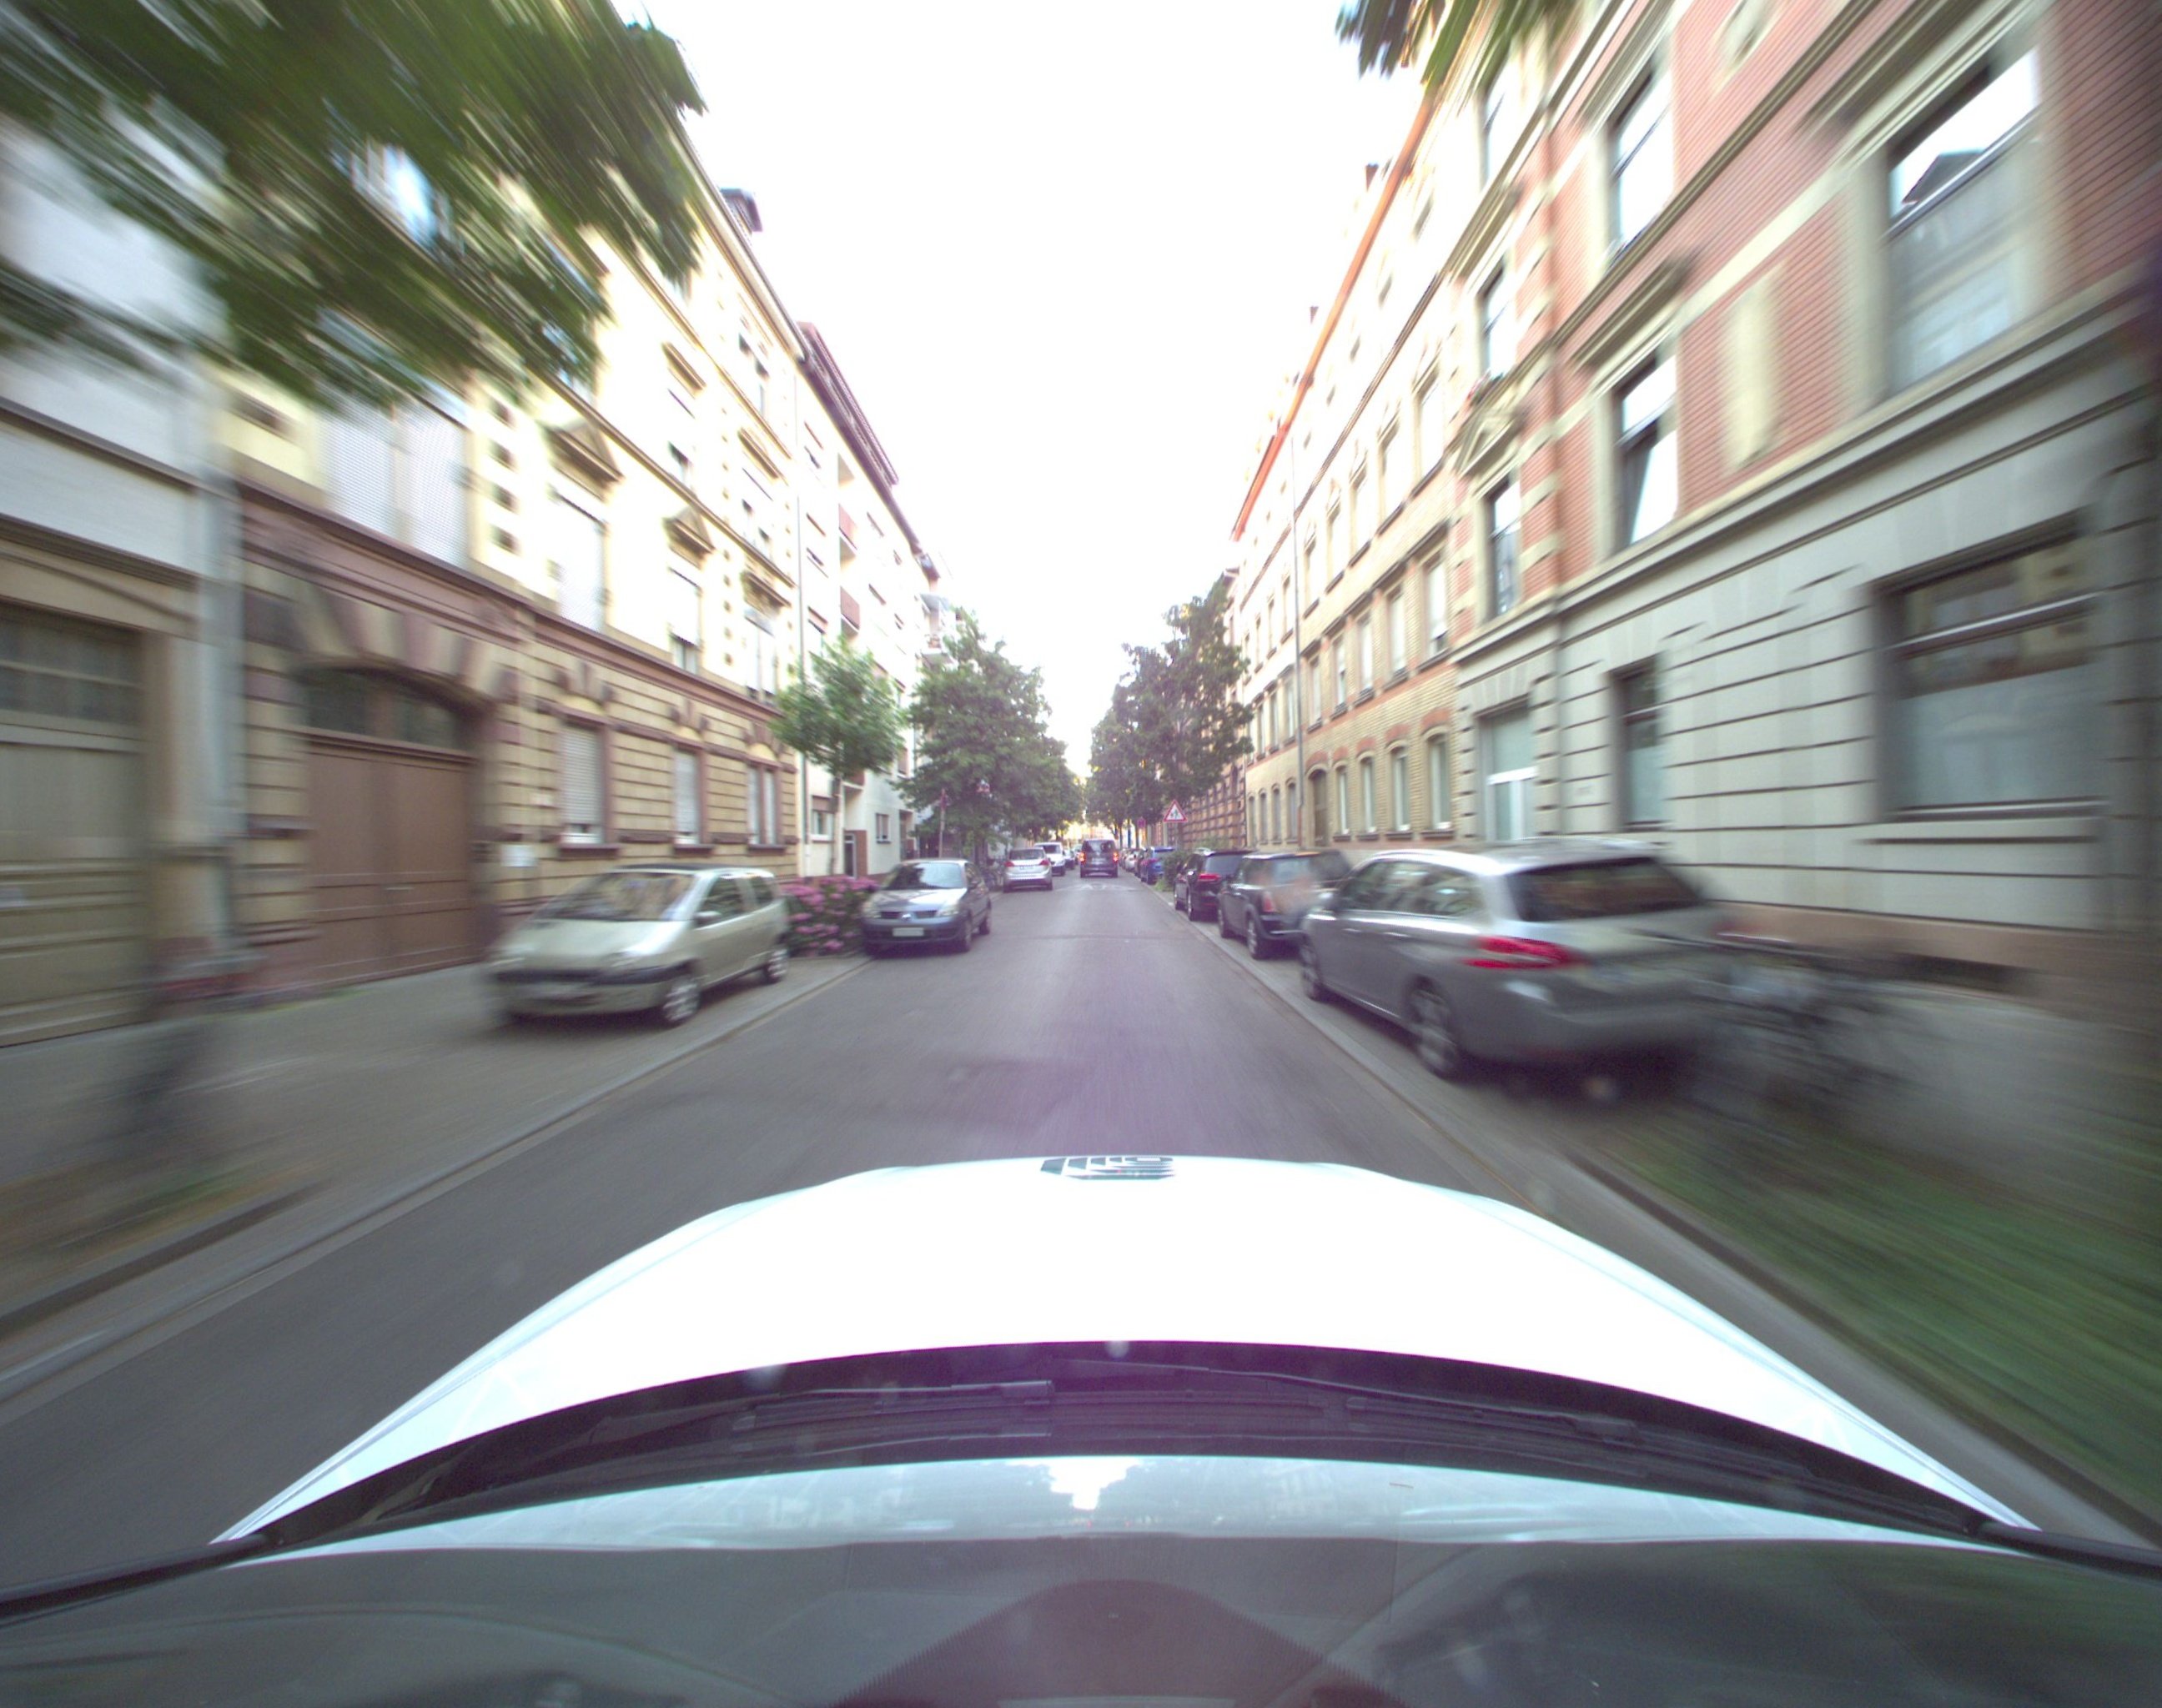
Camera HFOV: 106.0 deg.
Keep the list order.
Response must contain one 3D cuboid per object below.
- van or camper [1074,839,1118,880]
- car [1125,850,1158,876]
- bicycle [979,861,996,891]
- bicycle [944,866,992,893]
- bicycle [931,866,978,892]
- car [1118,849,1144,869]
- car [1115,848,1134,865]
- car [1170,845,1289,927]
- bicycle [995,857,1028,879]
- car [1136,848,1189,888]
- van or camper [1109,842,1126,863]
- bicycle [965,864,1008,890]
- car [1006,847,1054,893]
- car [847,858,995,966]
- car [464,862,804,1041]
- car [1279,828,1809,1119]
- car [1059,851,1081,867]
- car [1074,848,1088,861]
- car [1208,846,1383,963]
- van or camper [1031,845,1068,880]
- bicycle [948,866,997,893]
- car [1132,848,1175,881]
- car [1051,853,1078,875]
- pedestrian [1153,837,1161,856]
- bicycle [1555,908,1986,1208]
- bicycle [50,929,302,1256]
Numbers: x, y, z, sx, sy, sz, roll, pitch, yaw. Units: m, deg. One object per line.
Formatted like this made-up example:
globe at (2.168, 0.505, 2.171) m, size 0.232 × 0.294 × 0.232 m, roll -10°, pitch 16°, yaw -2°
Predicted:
van or camper at (0.823, 0.260, 41.294) m, size 2.027 × 1.897 × 4.274 m, roll -1°, pitch 0°, yaw 3°
car at (3.637, 0.497, 49.556) m, size 1.688 × 1.401 × 4.646 m, roll -2°, pitch 0°, yaw 0°
bicycle at (-3.562, 0.824, 31.108) m, size 0.418 × 1.103 × 1.665 m, roll -1°, pitch 0°, yaw 0°
bicycle at (-4.094, 0.922, 29.570) m, size 1.709 × 0.898 × 0.380 m, roll -1°, pitch 0°, yaw -29°
bicycle at (-4.629, 0.926, 29.943) m, size 1.670 × 0.898 × 0.380 m, roll -1°, pitch 0°, yaw -29°
car at (4.058, 0.380, 66.798) m, size 1.693 × 1.482 × 3.998 m, roll -4°, pitch 0°, yaw -1°
car at (4.291, 0.226, 80.594) m, size 1.607 × 1.559 × 3.765 m, roll -2°, pitch 0°, yaw -1°
car at (3.010, 0.586, 17.426) m, size 1.760 × 1.415 × 4.475 m, roll -4°, pitch 0°, yaw 1°
bicycle at (-3.833, 0.765, 44.956) m, size 0.690 × 1.163 × 1.834 m, roll -2°, pitch 0°, yaw 43°
car at (3.201, 0.508, 32.776) m, size 1.623 × 1.466 × 4.244 m, roll -2°, pitch 0°, yaw -1°
van or camper at (4.821, -0.196, 108.815) m, size 1.987 × 2.599 × 5.423 m, roll -1°, pitch 0°, yaw 0°
bicycle at (-3.794, 0.934, 32.724) m, size 1.708 × 0.994 × 0.580 m, roll -2°, pitch 0°, yaw 34°
car at (-1.870, 0.571, 30.686) m, size 1.659 × 1.563 × 3.997 m, roll -2°, pitch 0°, yaw -2°
car at (-2.436, 0.816, 13.243) m, size 1.575 × 1.420 × 3.753 m, roll -2°, pitch 0°, yaw 1°
car at (-4.351, 0.835, 8.607) m, size 1.582 × 1.437 × 3.566 m, roll 0°, pitch 0°, yaw 1°
car at (3.043, 0.626, 6.588) m, size 1.712 × 1.476 × 4.366 m, roll -3°, pitch 0°, yaw -1°
car at (-1.025, 0.490, 78.361) m, size 1.840 × 1.451 × 4.504 m, roll -1°, pitch 0°, yaw 1°
car at (-0.005, 0.069, 102.588) m, size 1.625 × 1.430 × 3.543 m, roll -2°, pitch 3°, yaw 0°
car at (3.024, 0.636, 12.198) m, size 1.630 × 1.424 × 3.564 m, roll -3°, pitch 0°, yaw 0°
van or camper at (-1.735, 0.432, 45.950) m, size 1.871 × 1.843 × 4.751 m, roll -2°, pitch 0°, yaw -1°
bicycle at (-3.882, 0.919, 29.166) m, size 1.709 × 0.907 × 0.380 m, roll -1°, pitch 0°, yaw -29°
car at (3.495, 0.481, 39.717) m, size 1.706 × 1.477 × 4.192 m, roll -1°, pitch 0°, yaw 0°
car at (-1.160, 0.749, 60.375) m, size 1.824 × 1.517 × 4.516 m, roll -2°, pitch 0°, yaw 0°
pedestrian at (6.863, -0.687, 73.763) m, size 0.625 × 1.648 × 0.532 m, roll -1°, pitch 0°, yaw 1°
bicycle at (3.136, 0.807, 3.687) m, size 1.922 × 0.982 × 0.634 m, roll -2°, pitch 0°, yaw -21°
bicycle at (-4.265, 0.967, 3.908) m, size 1.805 × 1.085 × 0.672 m, roll -1°, pitch -1°, yaw 44°
